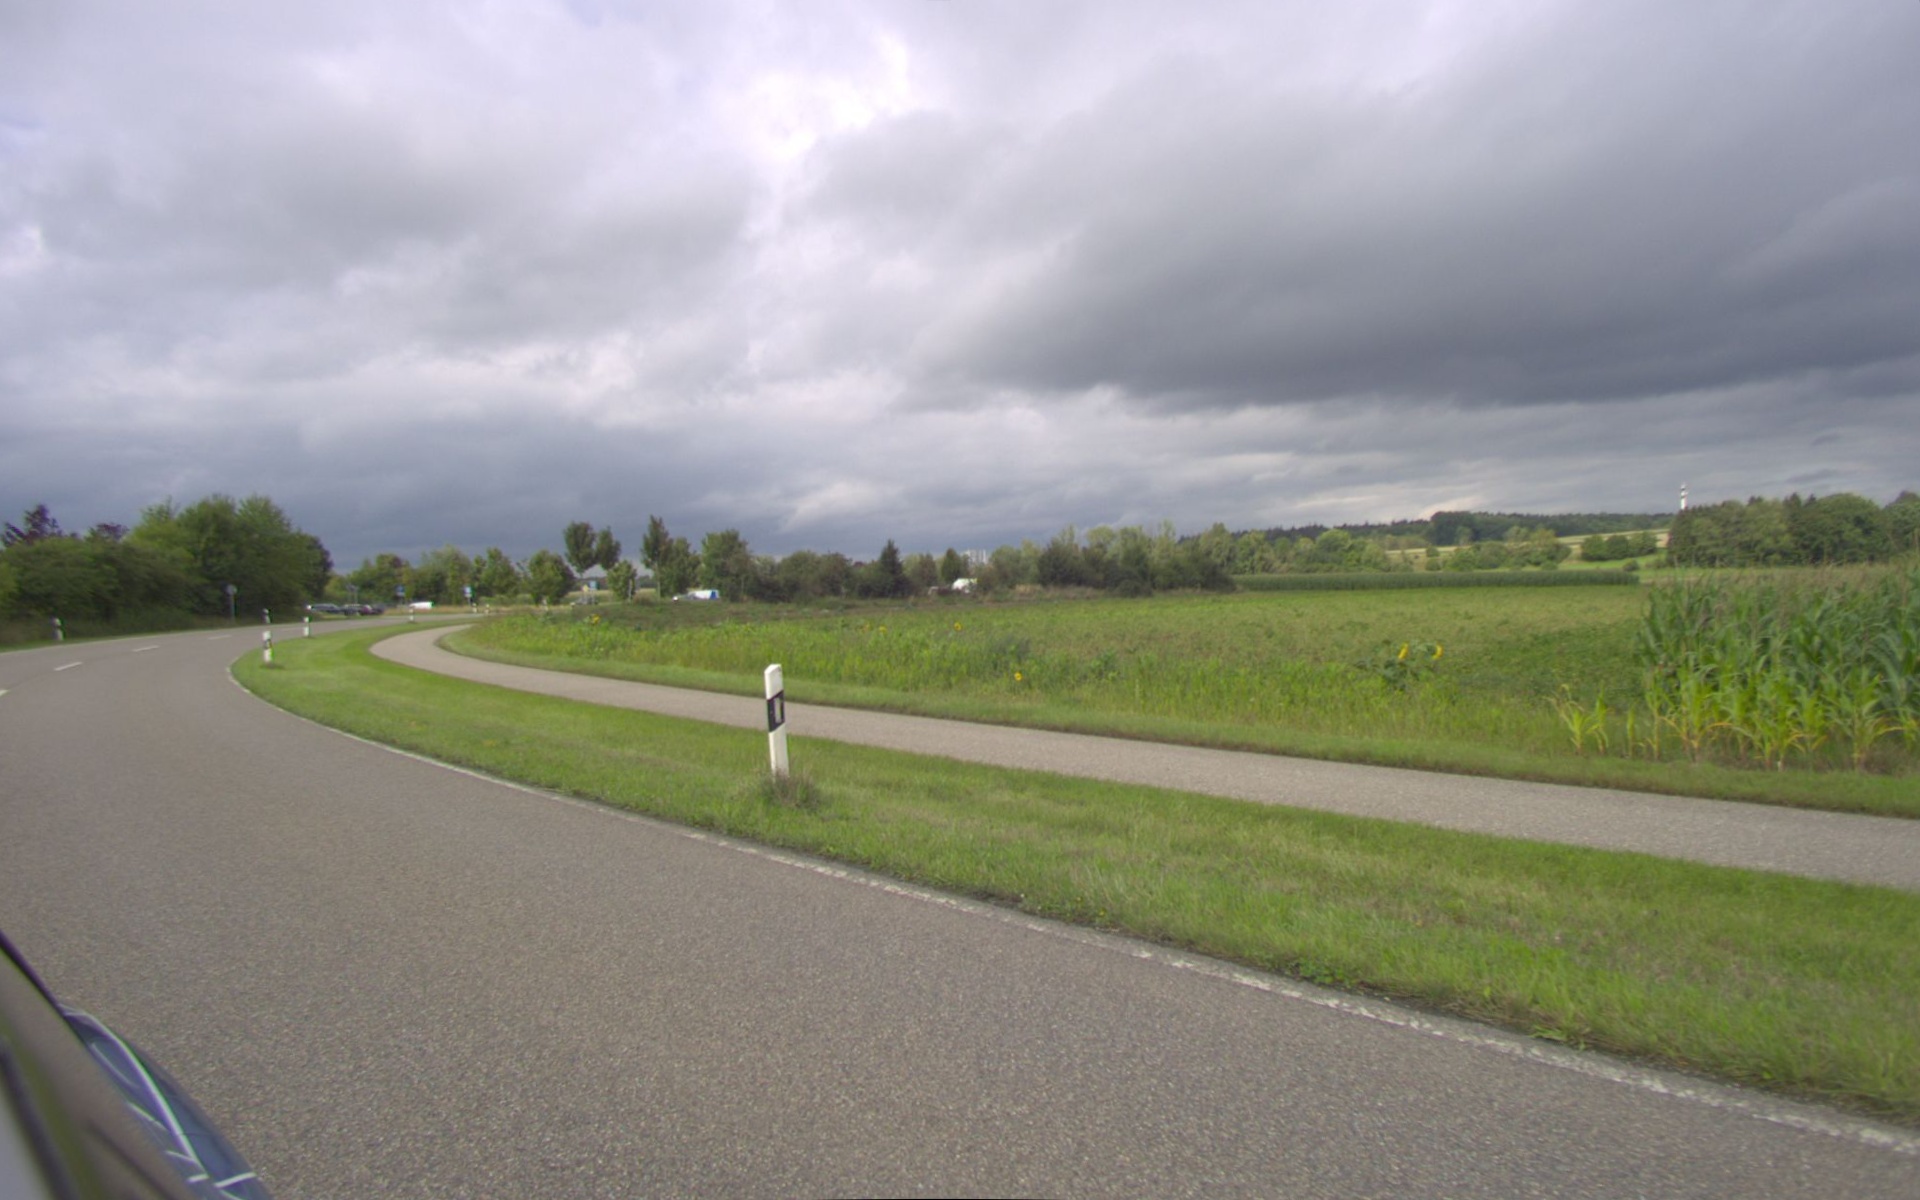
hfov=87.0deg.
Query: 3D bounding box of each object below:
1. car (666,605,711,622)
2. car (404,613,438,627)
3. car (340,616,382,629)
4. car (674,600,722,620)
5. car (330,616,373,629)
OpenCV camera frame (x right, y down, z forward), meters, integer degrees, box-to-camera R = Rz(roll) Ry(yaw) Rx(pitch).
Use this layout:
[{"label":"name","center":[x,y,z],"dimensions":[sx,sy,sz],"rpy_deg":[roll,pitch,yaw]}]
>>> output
[{"label":"car","center":[-28.923,1.415,107.914],"dimensions":[4.204,1.607,1.999],"rpy_deg":[-2,0,2]},{"label":"car","center":[-78.033,2.956,146.452],"dimensions":[3.934,1.874,2.005],"rpy_deg":[-2,0,-12]},{"label":"car","center":[-74.674,2.768,126.193],"dimensions":[3.946,1.516,2.056],"rpy_deg":[-2,0,-9]},{"label":"car","center":[-29.204,1.107,112.891],"dimensions":[4.841,2.029,2.056],"rpy_deg":[-2,0,1]},{"label":"car","center":[-73.802,2.681,122.771],"dimensions":[4.095,1.424,2.006],"rpy_deg":[-2,0,-16]}]
